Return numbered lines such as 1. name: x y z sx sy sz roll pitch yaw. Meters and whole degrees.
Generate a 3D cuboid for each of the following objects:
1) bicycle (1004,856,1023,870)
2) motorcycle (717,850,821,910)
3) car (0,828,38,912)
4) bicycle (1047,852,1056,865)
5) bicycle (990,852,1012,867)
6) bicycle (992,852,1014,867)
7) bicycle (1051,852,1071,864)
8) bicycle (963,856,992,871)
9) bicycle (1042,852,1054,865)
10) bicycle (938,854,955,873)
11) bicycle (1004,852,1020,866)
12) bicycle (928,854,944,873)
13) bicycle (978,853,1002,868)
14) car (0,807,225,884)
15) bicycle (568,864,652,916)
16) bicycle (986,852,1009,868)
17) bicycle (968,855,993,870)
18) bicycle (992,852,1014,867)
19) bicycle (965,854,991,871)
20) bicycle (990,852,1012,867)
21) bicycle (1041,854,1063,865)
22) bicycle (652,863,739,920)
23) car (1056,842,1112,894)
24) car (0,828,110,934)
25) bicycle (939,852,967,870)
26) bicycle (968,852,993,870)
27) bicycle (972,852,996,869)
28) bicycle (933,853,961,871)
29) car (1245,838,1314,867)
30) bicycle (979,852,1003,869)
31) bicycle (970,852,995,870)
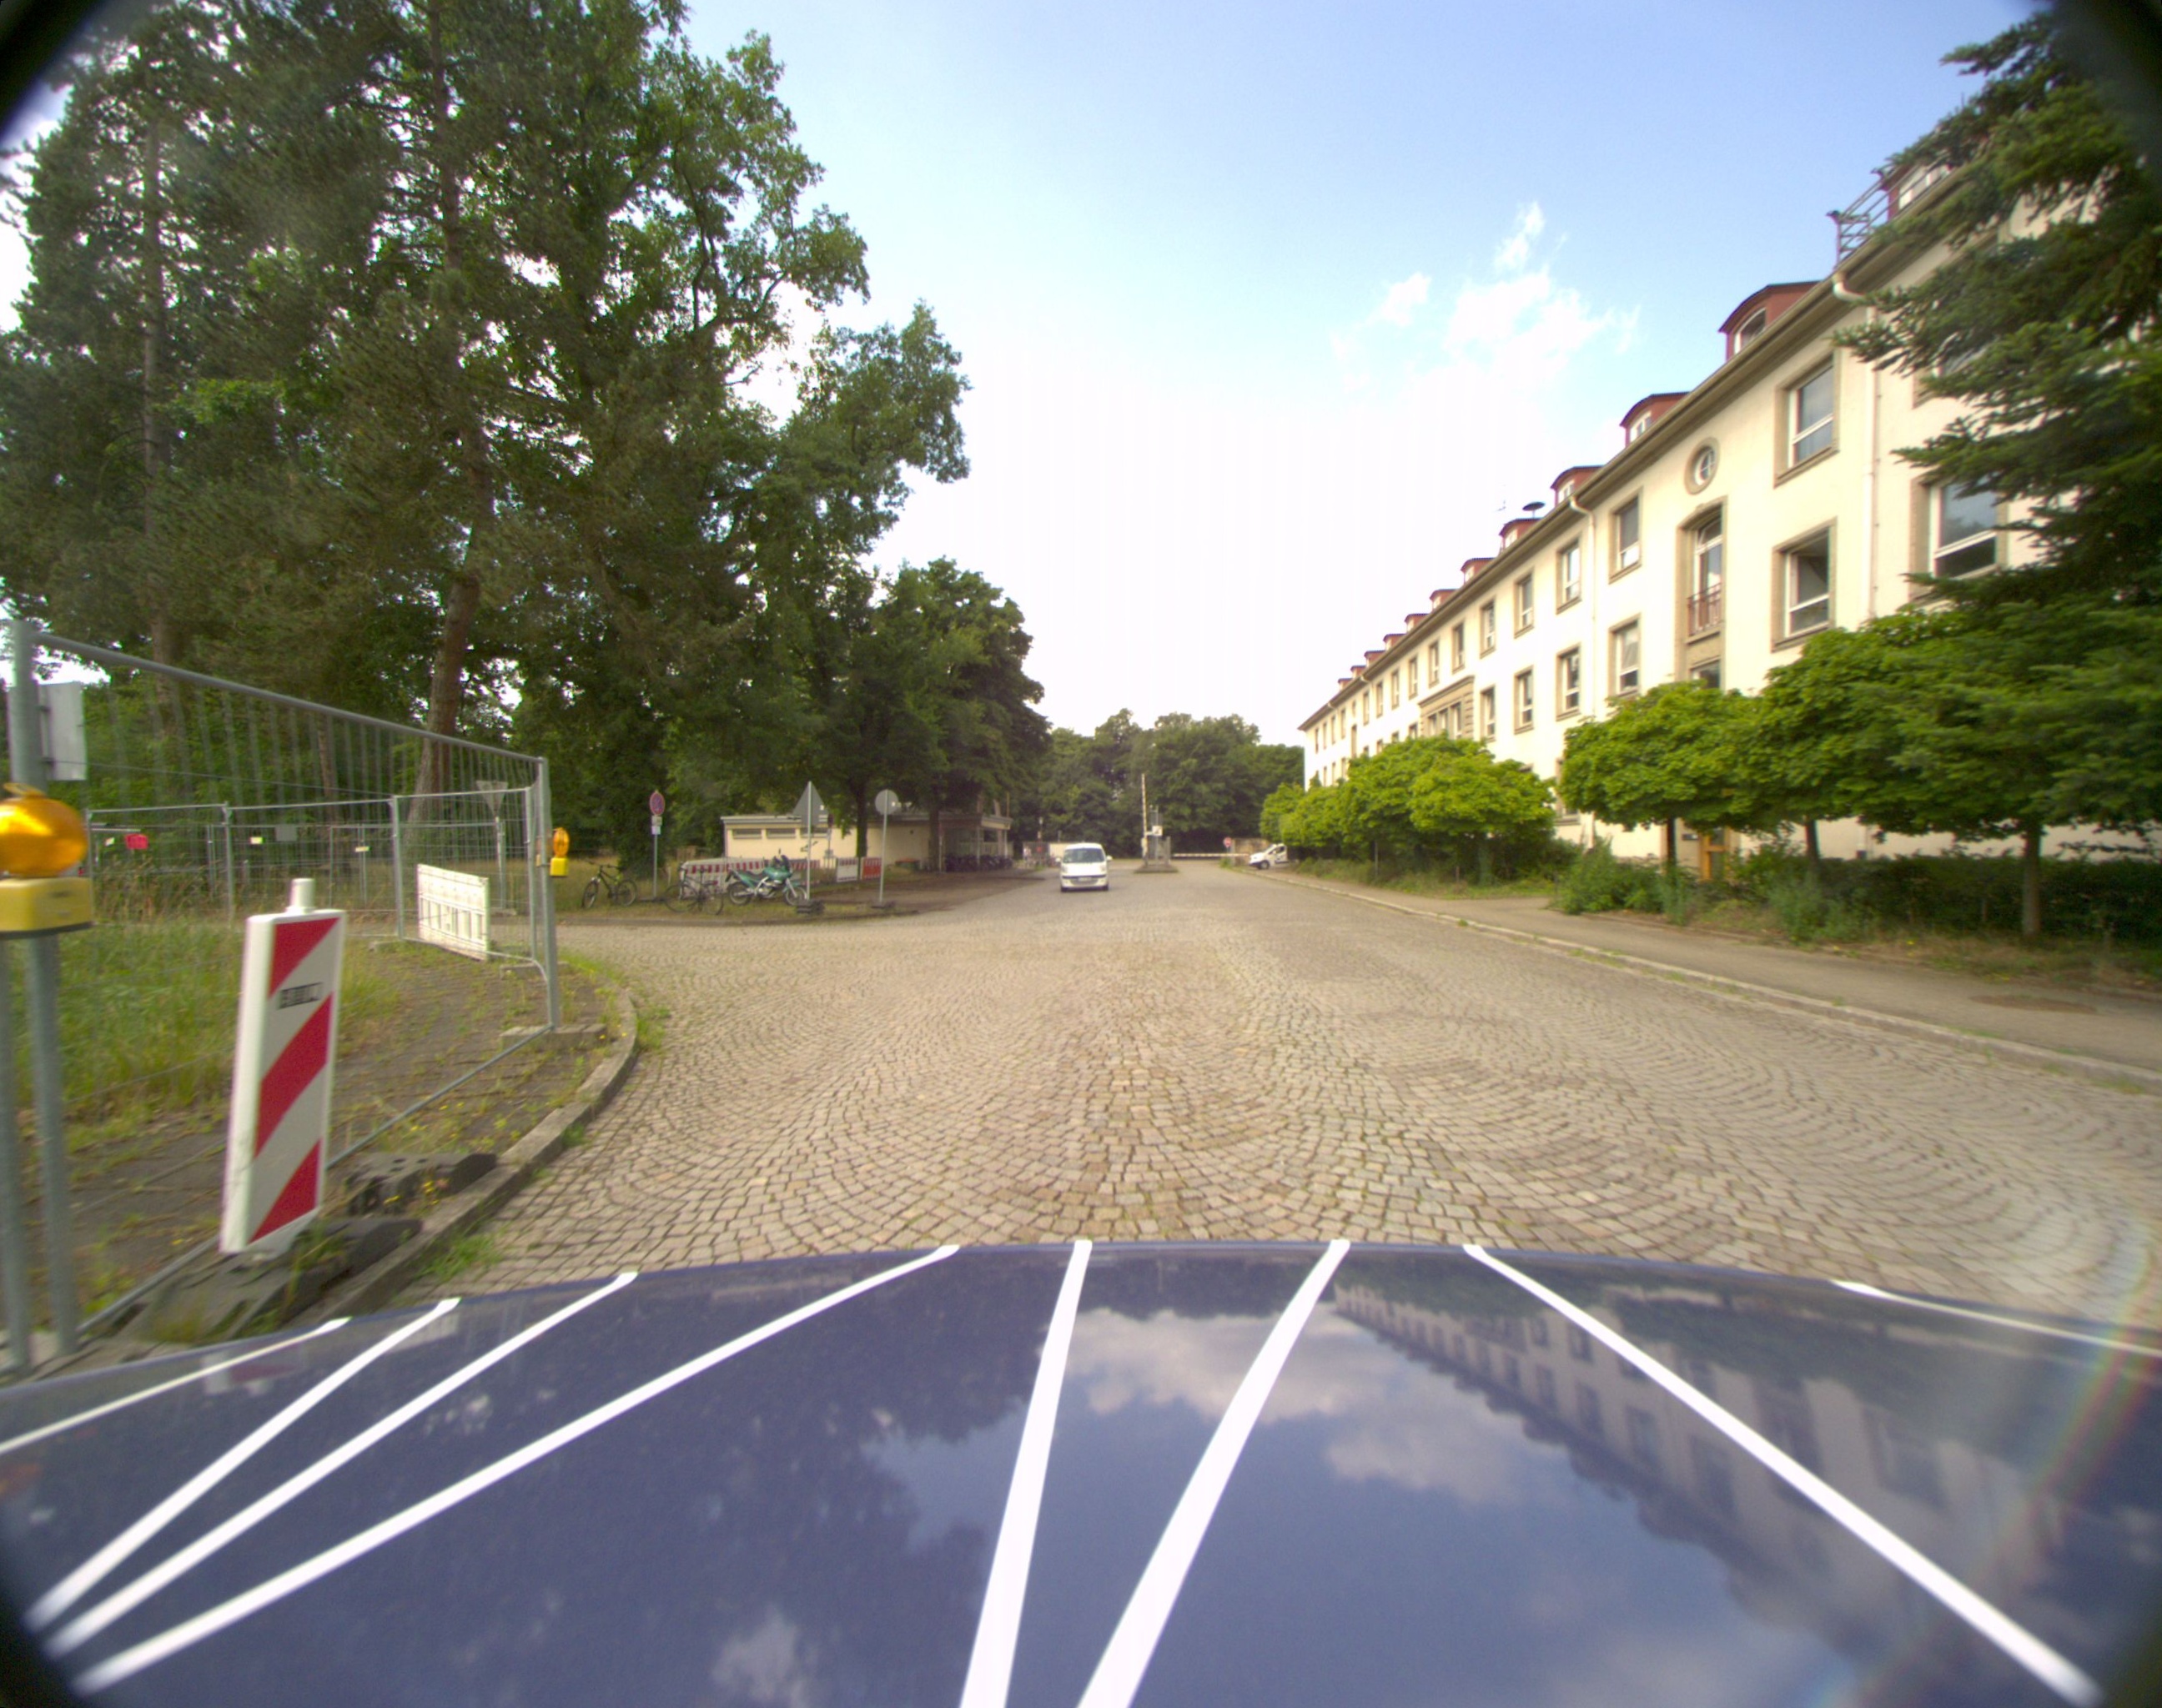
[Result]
1. bicycle: -5.194 0.668 58.748 1.407 1.040 0.338 -2 1 -22
2. motorcycle: -7.884 0.644 19.254 2.282 1.477 0.757 0 1 0
3. car: -32.990 0.523 20.938 2.002 2.563 6.409 -3 1 -24
4. bicycle: -2.481 0.370 63.745 0.474 1.051 1.733 -1 1 5
5. bicycle: -5.977 0.408 57.094 1.617 1.134 0.356 1 1 -3
6. bicycle: -5.827 0.402 56.623 1.617 1.134 0.325 1 1 -3
7. bicycle: -1.738 0.382 66.699 1.729 1.027 0.387 0 1 6
8. bicycle: -6.807 0.597 50.115 1.748 0.970 0.757 0 1 -25
9. bicycle: -2.671 0.350 61.619 0.691 1.056 1.565 -1 1 5
10. bicycle: -8.277 0.565 46.810 0.598 1.110 1.635 1 1 4
11. bicycle: -5.258 0.406 58.241 1.154 1.057 0.286 -2 1 -16
12. bicycle: -8.916 0.565 46.835 0.598 1.110 1.635 1 1 4
13. bicycle: -6.490 0.493 54.163 1.635 1.044 0.334 0 1 -10
14. car: -26.396 -0.210 20.715 2.002 1.814 4.865 -3 1 -22
15. bicycle: -11.214 0.828 18.172 0.643 1.162 1.906 0 0 7
16. bicycle: -6.140 0.421 55.845 1.617 1.134 0.325 1 1 -3
17. bicycle: -6.723 0.583 50.893 1.637 0.970 0.322 0 1 -25
18. bicycle: -5.902 0.392 57.764 1.617 1.134 0.356 1 1 -3
19. bicycle: -6.659 0.543 49.213 1.681 1.102 0.338 0 1 -9
20. bicycle: -5.915 0.412 56.244 1.617 1.134 0.325 1 1 -3
21. bicycle: -2.543 0.442 66.029 1.867 0.934 0.503 0 1 0
22. bicycle: -8.548 0.810 16.844 1.900 1.190 0.657 0 1 24
23. car: 0.190 0.494 29.039 1.866 1.749 4.149 -3 0 2
24. car: -21.943 0.528 14.476 4.868 1.909 1.907 -1 0 6
25. bicycle: -8.565 0.479 50.853 1.745 1.158 0.608 1 1 1
26. bicycle: -6.821 0.473 51.540 1.635 1.183 0.473 0 1 -9
27. bicycle: -6.767 0.472 52.787 1.635 1.183 0.419 0 1 -8
28. bicycle: -8.785 0.504 49.840 1.745 1.158 0.608 1 1 1
29. car: 14.034 -0.126 53.894 4.311 1.796 1.820 -4 1 3
30. bicycle: -6.354 0.443 53.559 1.635 1.183 0.498 0 1 -8
31. bicycle: -6.768 0.482 52.173 1.635 1.183 0.419 0 1 -8
